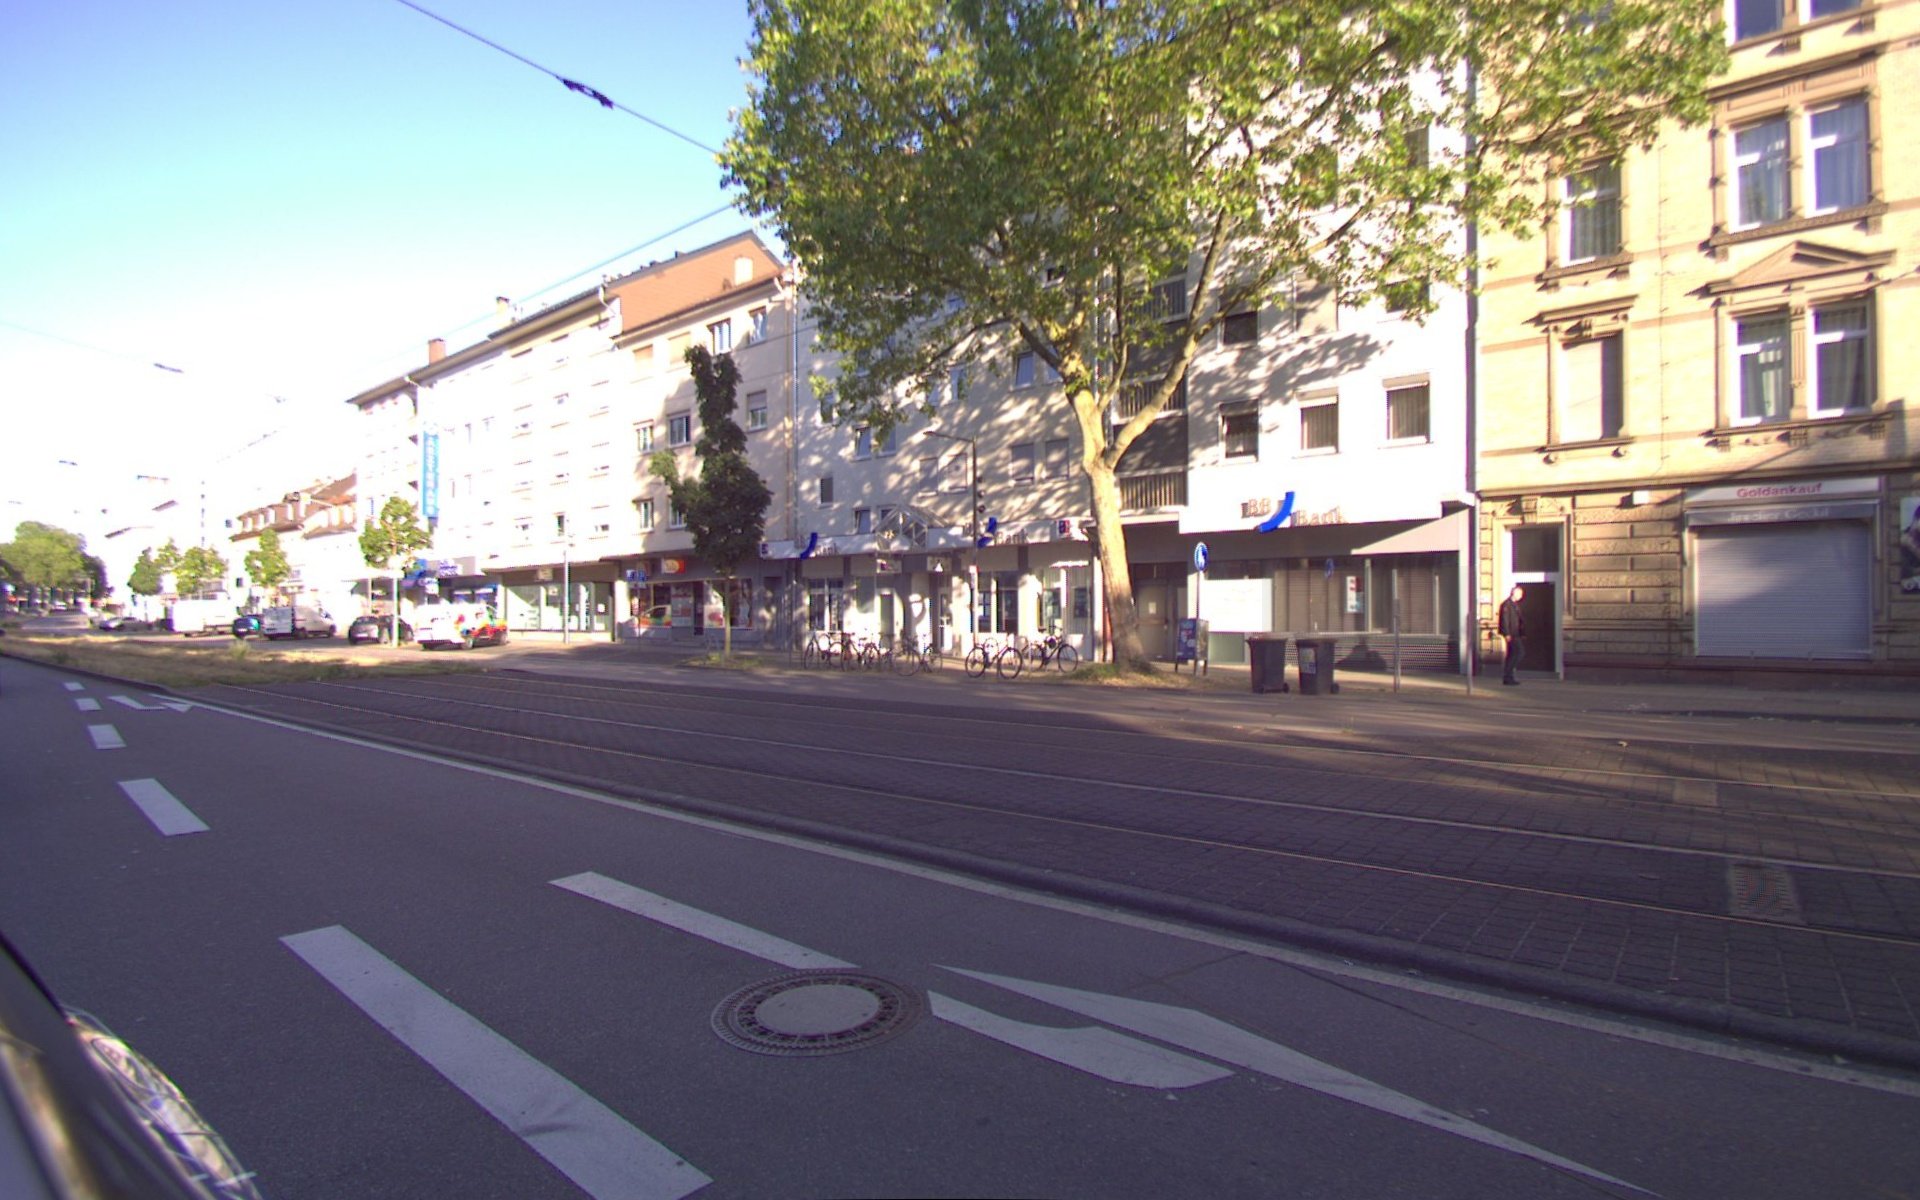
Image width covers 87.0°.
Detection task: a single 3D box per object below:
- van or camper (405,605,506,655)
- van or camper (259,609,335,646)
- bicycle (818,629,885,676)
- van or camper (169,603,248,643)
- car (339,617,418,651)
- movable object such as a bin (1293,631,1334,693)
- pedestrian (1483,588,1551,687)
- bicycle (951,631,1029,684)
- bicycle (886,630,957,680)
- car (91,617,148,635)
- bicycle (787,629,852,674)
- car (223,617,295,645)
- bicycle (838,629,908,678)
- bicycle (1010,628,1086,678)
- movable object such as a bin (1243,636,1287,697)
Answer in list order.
[{"bbox_3d":[-21.541,1.237,43.446,1.924,1.912,4.816,-2,1,-1],"label":"van or camper"},{"bbox_3d":[-39.628,1.623,60.619,1.774,2.004,4.454,-2,1,-3],"label":"van or camper"},{"bbox_3d":[-2.819,1.353,26.425,0.533,1.133,1.875,-1,0,39],"label":"bicycle"},{"bbox_3d":[-55.173,1.632,74.512,1.968,2.687,6.412,-2,1,-10],"label":"van or camper"},{"bbox_3d":[-29.512,1.682,51.502,1.743,1.501,4.456,-2,1,-5],"label":"car"},{"bbox_3d":[6.403,1.120,18.331,0.470,1.102,0.575,0,-2,-8],"label":"movable object such as a bin"},{"bbox_3d":[10.602,0.698,19.274,0.611,1.801,0.971,-2,0,-43],"label":"pedestrian"},{"bbox_3d":[0.666,1.284,22.866,1.911,1.133,0.502,-1,0,44],"label":"bicycle"},{"bbox_3d":[-0.919,1.322,24.774,0.651,1.133,1.875,-1,0,39],"label":"bicycle"},{"bbox_3d":[-81.049,2.474,97.680,1.756,1.501,3.892,-2,1,19],"label":"car"},{"bbox_3d":[-3.768,1.368,27.244,0.533,1.133,1.875,-1,0,39],"label":"bicycle"},{"bbox_3d":[-44.956,1.975,65.003,1.852,1.598,4.002,-2,1,-2],"label":"car"},{"bbox_3d":[-2.215,1.346,25.896,0.651,1.133,1.875,-1,0,39],"label":"bicycle"},{"bbox_3d":[2.113,1.259,24.415,1.911,1.133,0.502,-1,0,44],"label":"bicycle"},{"bbox_3d":[5.669,1.232,18.814,0.537,1.102,0.648,0,-2,-8],"label":"movable object such as a bin"}]
